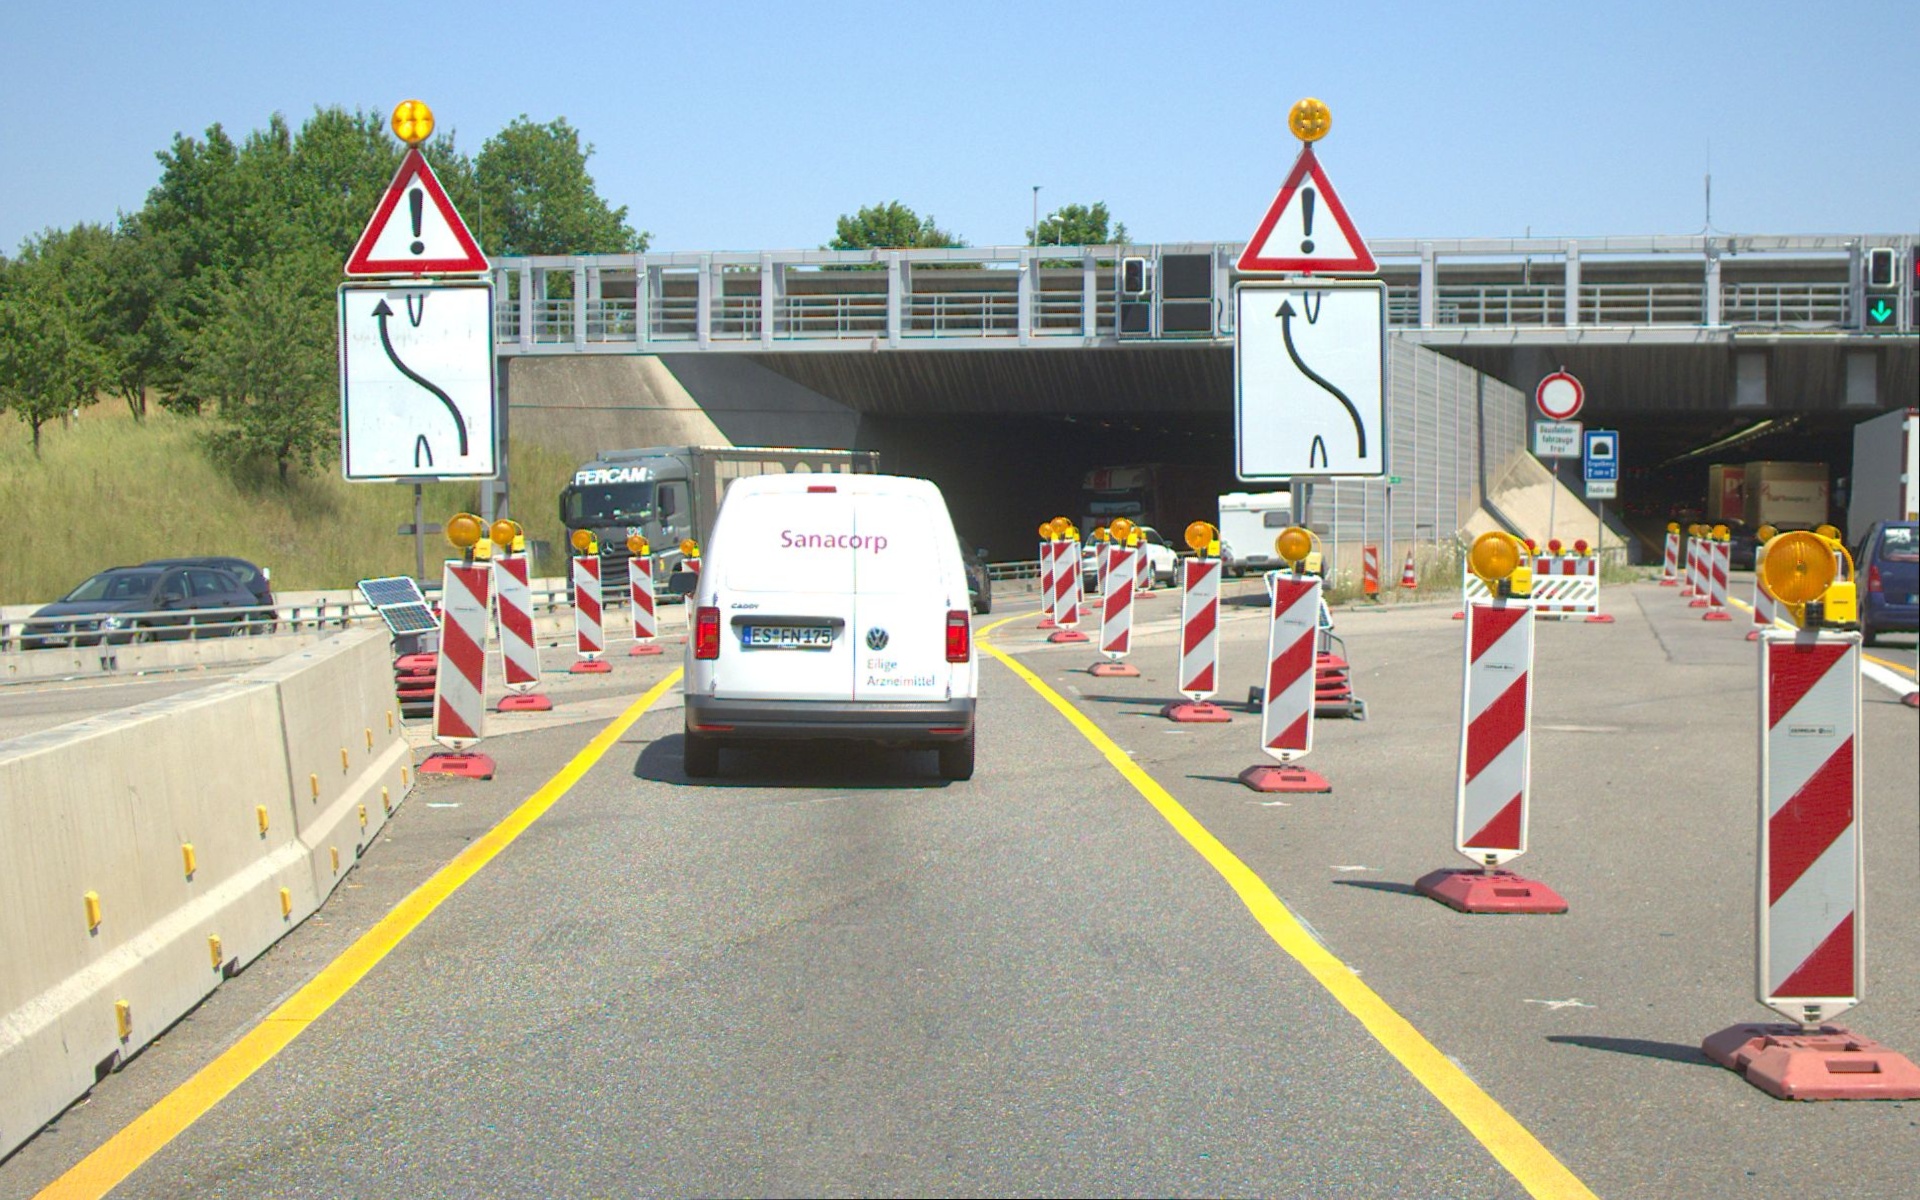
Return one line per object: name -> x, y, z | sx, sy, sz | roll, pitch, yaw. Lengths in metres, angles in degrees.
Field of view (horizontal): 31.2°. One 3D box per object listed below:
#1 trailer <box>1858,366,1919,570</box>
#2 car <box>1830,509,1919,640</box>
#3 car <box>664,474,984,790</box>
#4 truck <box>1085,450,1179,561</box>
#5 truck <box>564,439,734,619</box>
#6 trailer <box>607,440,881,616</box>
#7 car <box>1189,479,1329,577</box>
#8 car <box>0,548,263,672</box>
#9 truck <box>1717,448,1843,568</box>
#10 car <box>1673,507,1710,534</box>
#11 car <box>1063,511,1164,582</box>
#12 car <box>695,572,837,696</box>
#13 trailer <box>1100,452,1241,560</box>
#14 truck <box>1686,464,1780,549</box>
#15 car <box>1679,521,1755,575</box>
trailer -> 21.534, -2.674, 75.427 | 2.734, 4.048, 14.088 | 2, 1, 12
car -> 12.709, -0.329, 45.831 | 1.816, 1.637, 4.650 | 2, 1, 11
car -> -0.787, 0.150, 21.441 | 1.808, 1.788, 3.731 | 0, 1, 0
truck -> 6.562, -3.557, 130.740 | 2.336, 4.094, 5.013 | 0, 1, 18
truck -> -7.527, -1.717, 83.784 | 2.433, 4.255, 4.835 | 0, 1, 17
trailer -> -5.431, -1.874, 90.516 | 2.437, 4.282, 13.798 | 0, 1, 17
car -> 9.117, -2.147, 104.188 | 2.816, 2.764, 7.095 | 2, 0, 16
car -> -12.059, 0.098, 50.250 | 1.699, 1.724, 4.447 | 0, 1, 18
truck -> 33.111, -3.597, 139.407 | 3.403, 4.320, 16.530 | 2, 0, 8
car -> 53.186, -5.773, 250.104 | 2.332, 1.832, 4.542 | 2, 1, 9
car -> 3.880, -1.347, 86.230 | 1.809, 1.745, 4.407 | 0, 1, 12
car -> -2.611, 0.415, 46.261 | 1.808, 1.532, 4.410 | 0, 1, -3
trailer -> 8.499, -3.680, 136.789 | 2.340, 4.088, 13.250 | 0, 1, 18
truck -> 40.004, -4.762, 178.453 | 3.403, 4.057, 16.531 | 2, 1, 8
car -> 24.116, -1.659, 109.593 | 1.815, 1.624, 4.189 | 2, 1, 6
